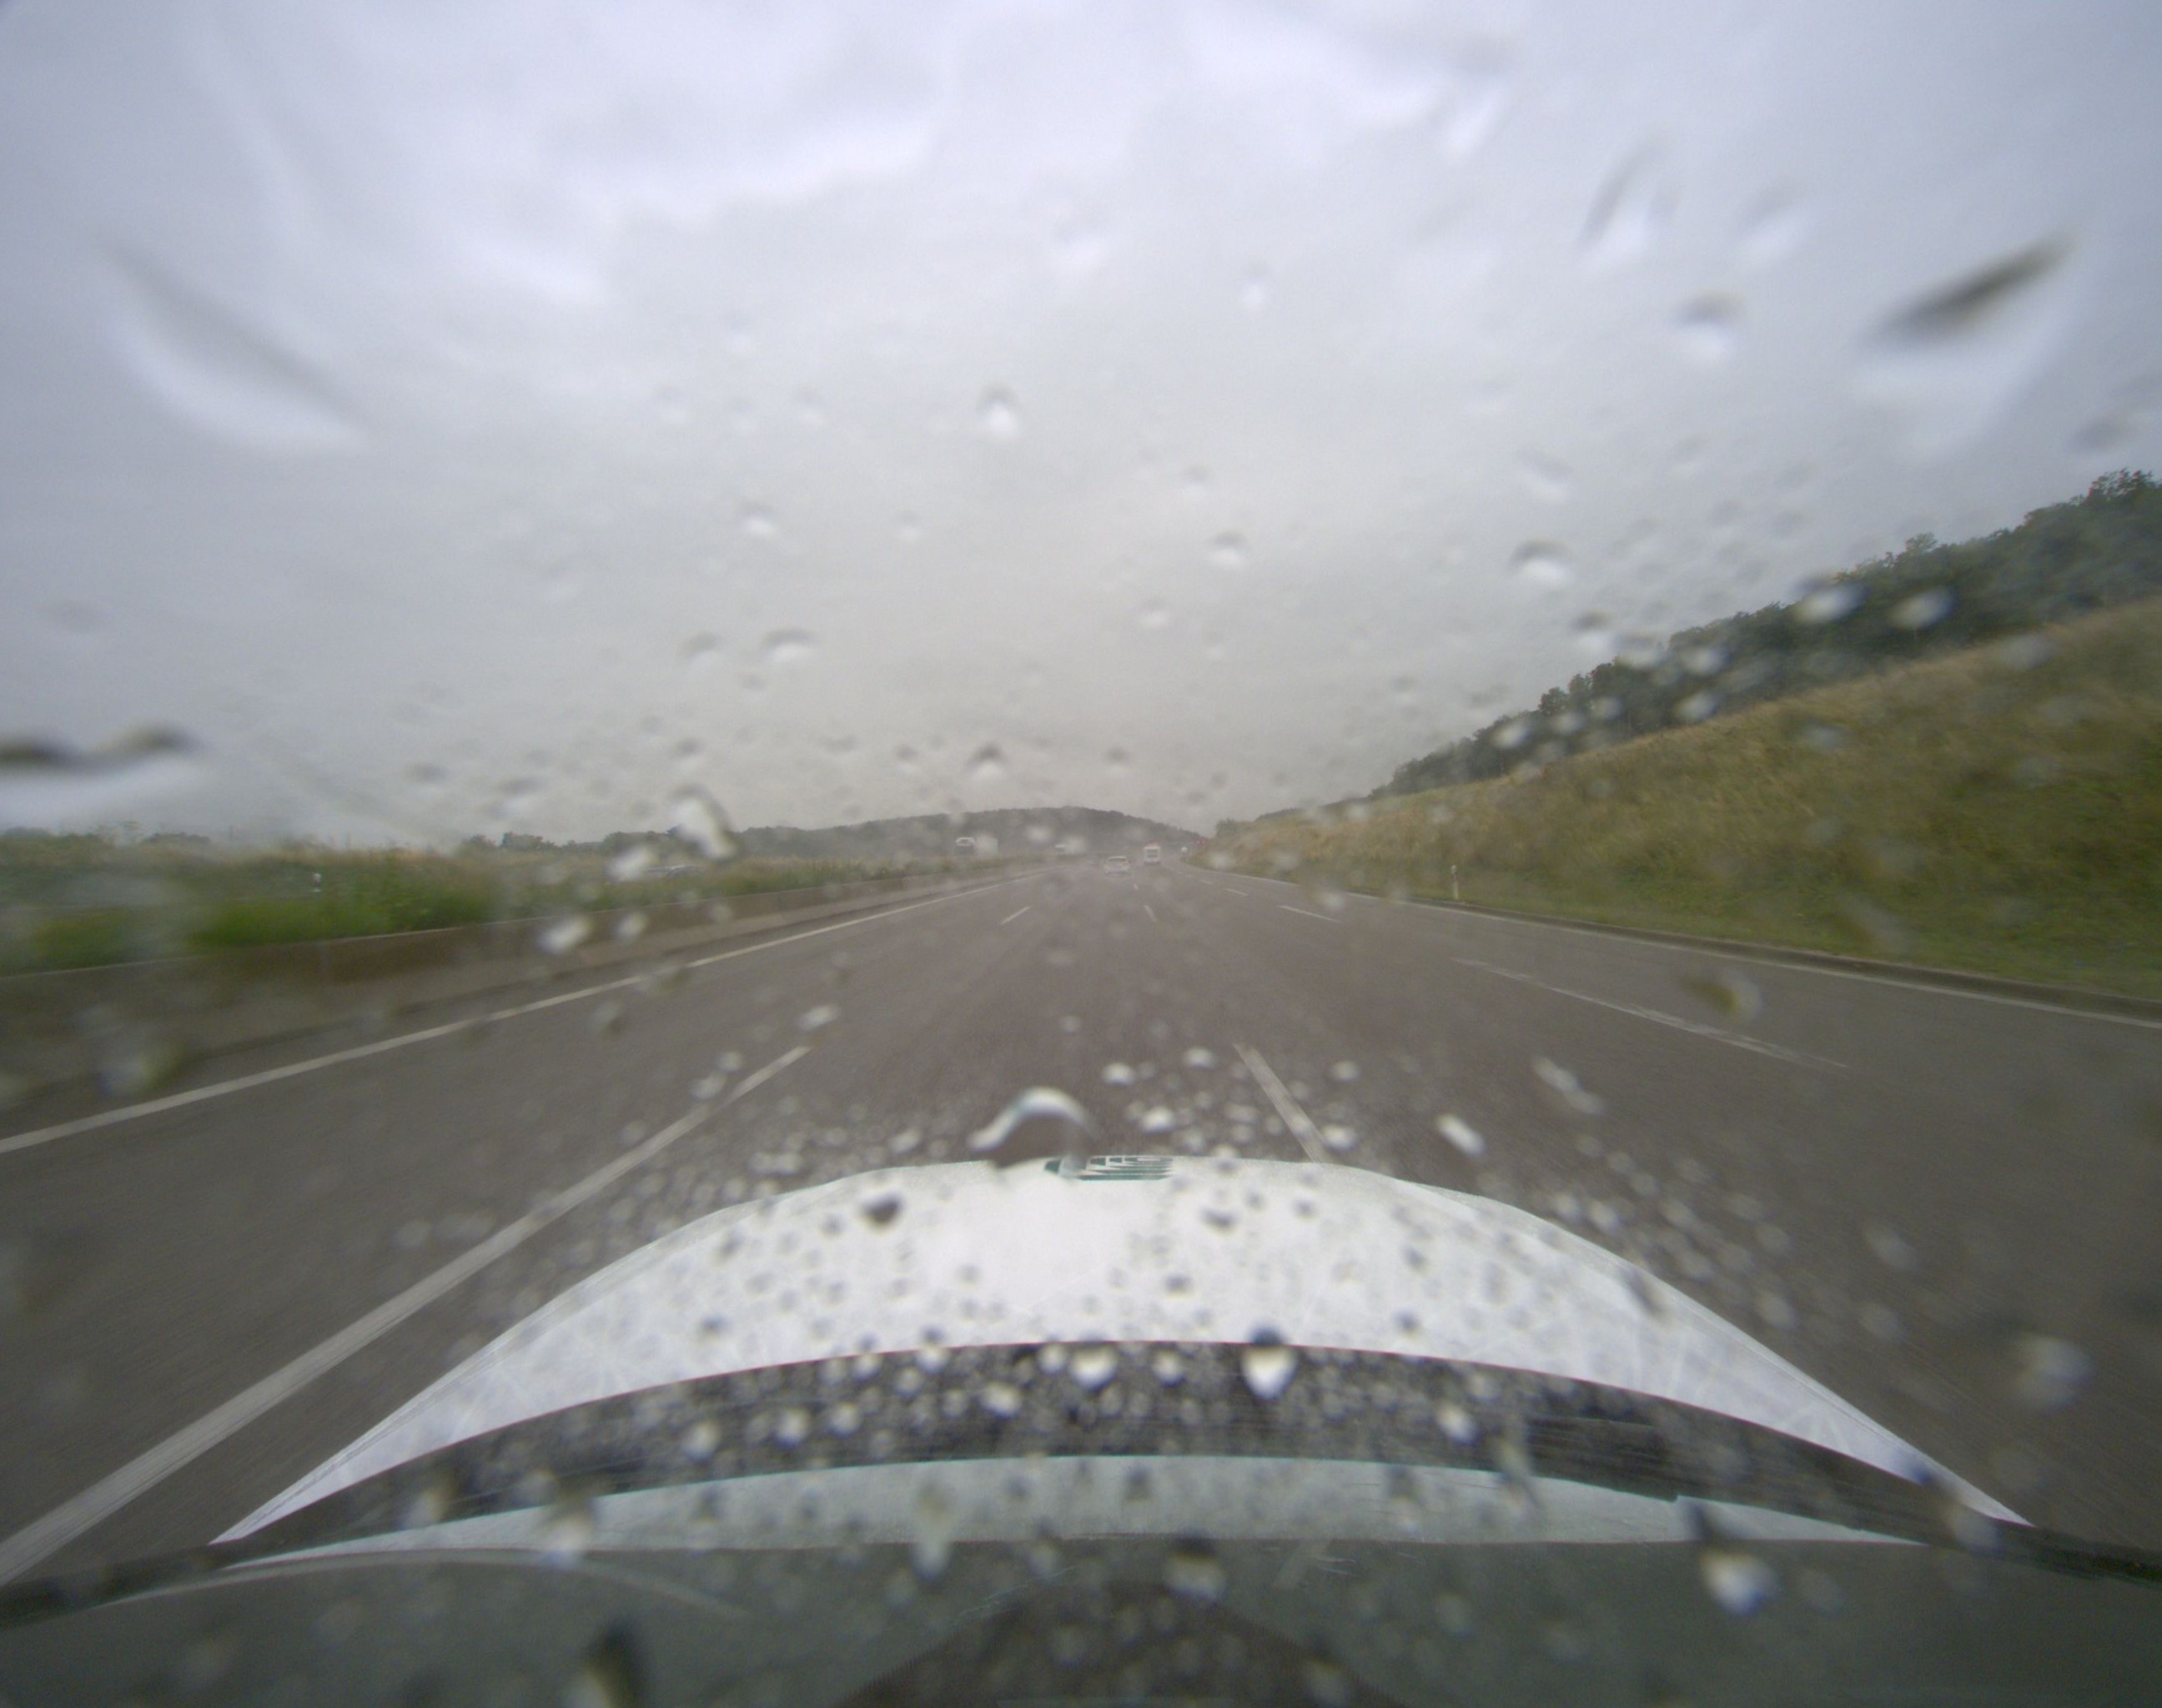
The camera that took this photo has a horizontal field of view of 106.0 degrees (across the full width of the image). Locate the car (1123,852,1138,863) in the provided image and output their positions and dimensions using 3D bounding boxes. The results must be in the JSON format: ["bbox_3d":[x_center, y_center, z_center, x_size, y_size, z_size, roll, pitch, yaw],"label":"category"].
[{"bbox_3d":[7.693,0.475,126.845,1.987,1.618,4.000,-1,0,1],"label":"car"}]

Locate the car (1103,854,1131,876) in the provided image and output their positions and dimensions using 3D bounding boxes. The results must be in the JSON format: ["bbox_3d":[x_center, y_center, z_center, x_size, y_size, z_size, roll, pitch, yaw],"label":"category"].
[{"bbox_3d":[2.513,0.788,57.600,1.861,1.463,4.001,-1,-1,1],"label":"car"}]

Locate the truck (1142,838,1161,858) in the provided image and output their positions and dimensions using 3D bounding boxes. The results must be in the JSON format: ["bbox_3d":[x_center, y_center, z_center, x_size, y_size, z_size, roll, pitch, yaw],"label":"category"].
[{"bbox_3d":[13.565,-1.257,158.442,3.511,3.742,11.440,-1,1,4],"label":"truck"}]

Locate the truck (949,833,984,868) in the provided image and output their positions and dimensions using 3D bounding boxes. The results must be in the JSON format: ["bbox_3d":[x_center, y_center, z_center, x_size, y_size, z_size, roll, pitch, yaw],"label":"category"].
[{"bbox_3d":[-13.788,-0.417,98.518,2.940,3.994,6.223,-1,0,4],"label":"truck"}]

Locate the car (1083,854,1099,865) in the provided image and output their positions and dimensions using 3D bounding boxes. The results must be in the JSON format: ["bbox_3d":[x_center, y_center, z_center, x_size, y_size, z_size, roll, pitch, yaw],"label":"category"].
[{"bbox_3d":[1.133,0.670,94.147,1.817,1.156,4.213,-1,-1,1],"label":"car"}]

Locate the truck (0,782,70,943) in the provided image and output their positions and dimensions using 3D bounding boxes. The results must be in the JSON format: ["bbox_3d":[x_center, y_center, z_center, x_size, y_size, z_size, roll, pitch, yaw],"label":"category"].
[{"bbox_3d":[-15.811,0.070,7.931,2.465,2.155,7.427,-1,-1,2],"label":"truck"}]

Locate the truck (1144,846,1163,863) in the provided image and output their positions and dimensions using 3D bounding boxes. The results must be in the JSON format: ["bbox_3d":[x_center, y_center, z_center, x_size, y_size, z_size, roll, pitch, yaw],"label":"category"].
[{"bbox_3d":[9.773,0.044,110.218,2.398,2.252,4.696,-1,0,3],"label":"truck"}]
